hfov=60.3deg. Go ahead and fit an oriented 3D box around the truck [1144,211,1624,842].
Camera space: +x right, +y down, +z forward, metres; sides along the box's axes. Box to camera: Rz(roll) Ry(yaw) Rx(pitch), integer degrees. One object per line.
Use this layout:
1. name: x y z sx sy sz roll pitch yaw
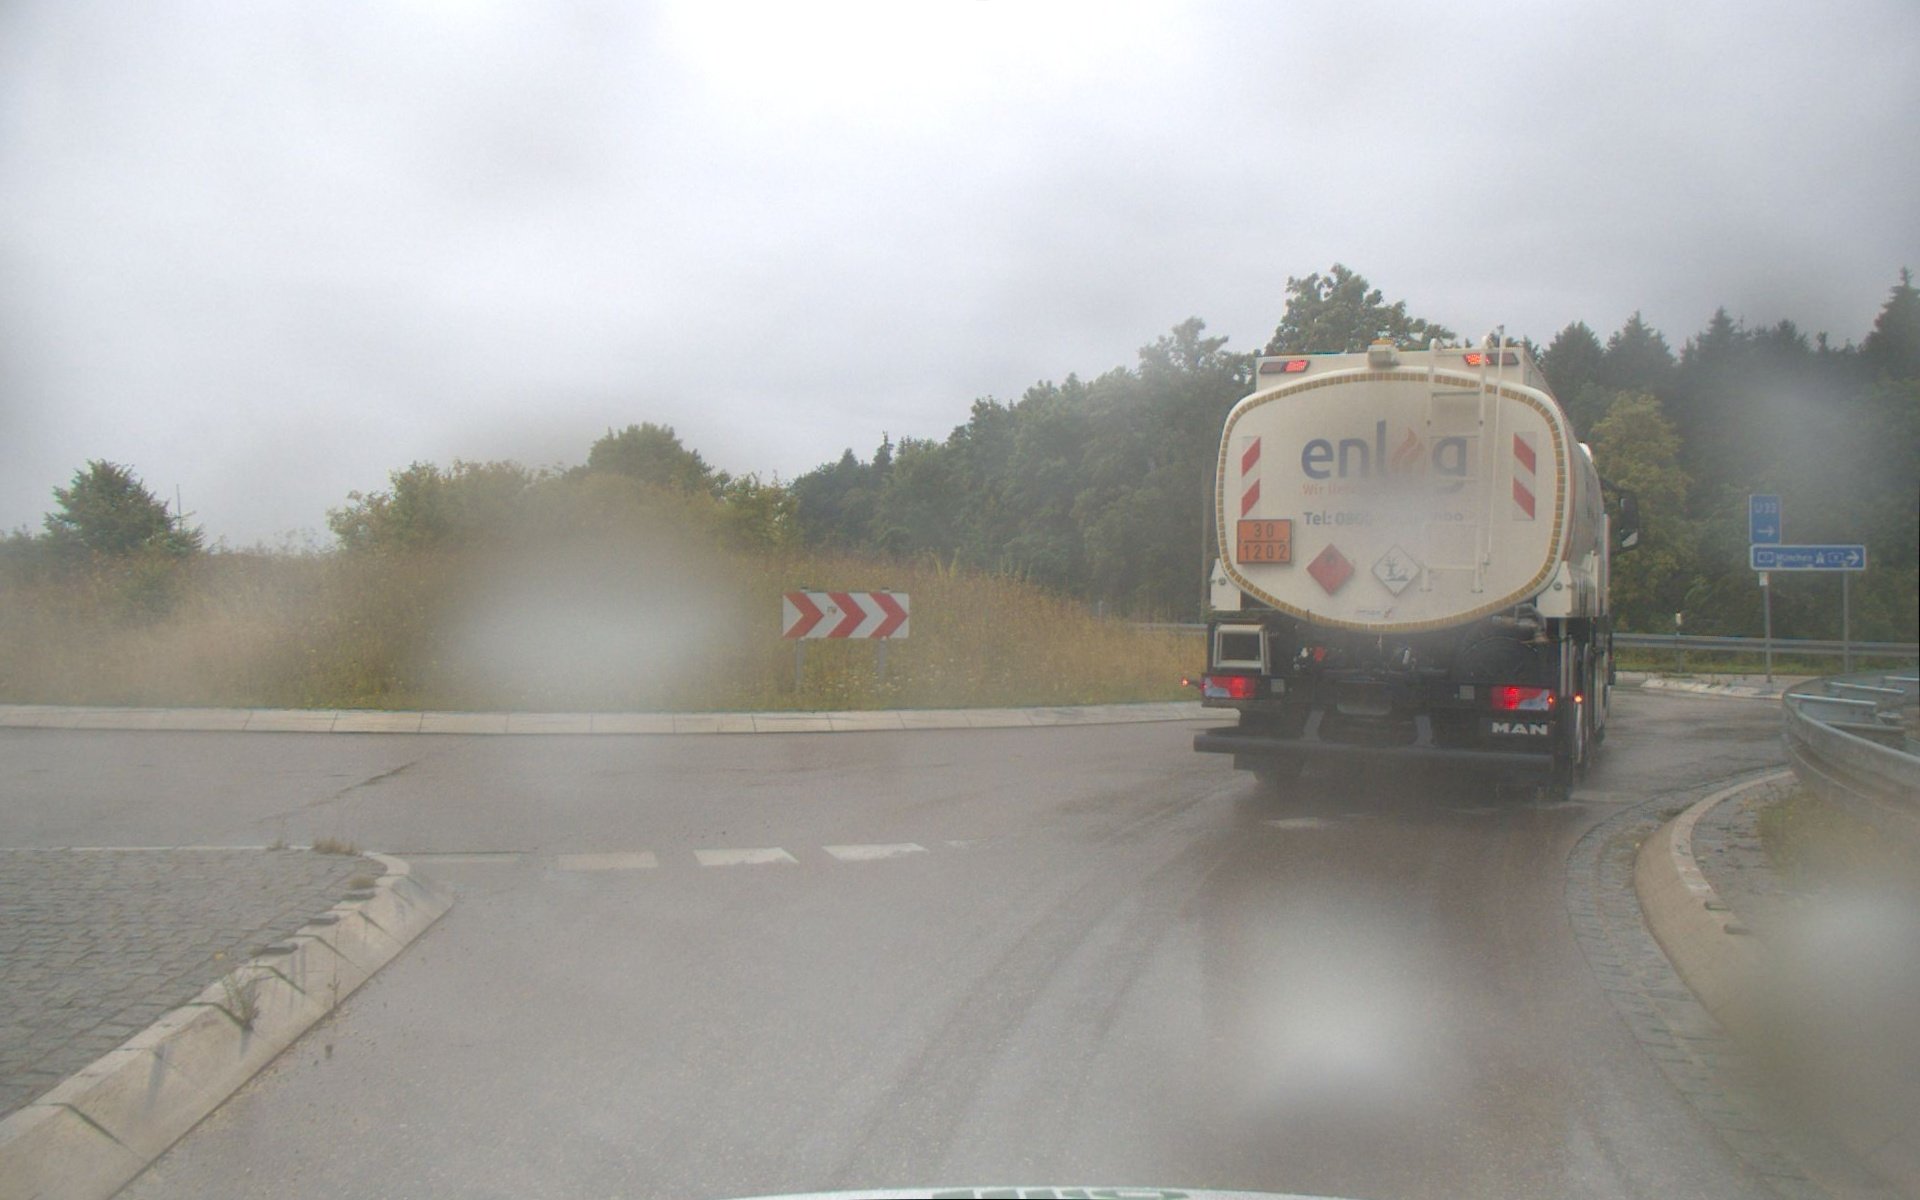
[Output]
1. truck: 4.342 -0.436 14.934 2.977 3.919 8.820 1 0 22
